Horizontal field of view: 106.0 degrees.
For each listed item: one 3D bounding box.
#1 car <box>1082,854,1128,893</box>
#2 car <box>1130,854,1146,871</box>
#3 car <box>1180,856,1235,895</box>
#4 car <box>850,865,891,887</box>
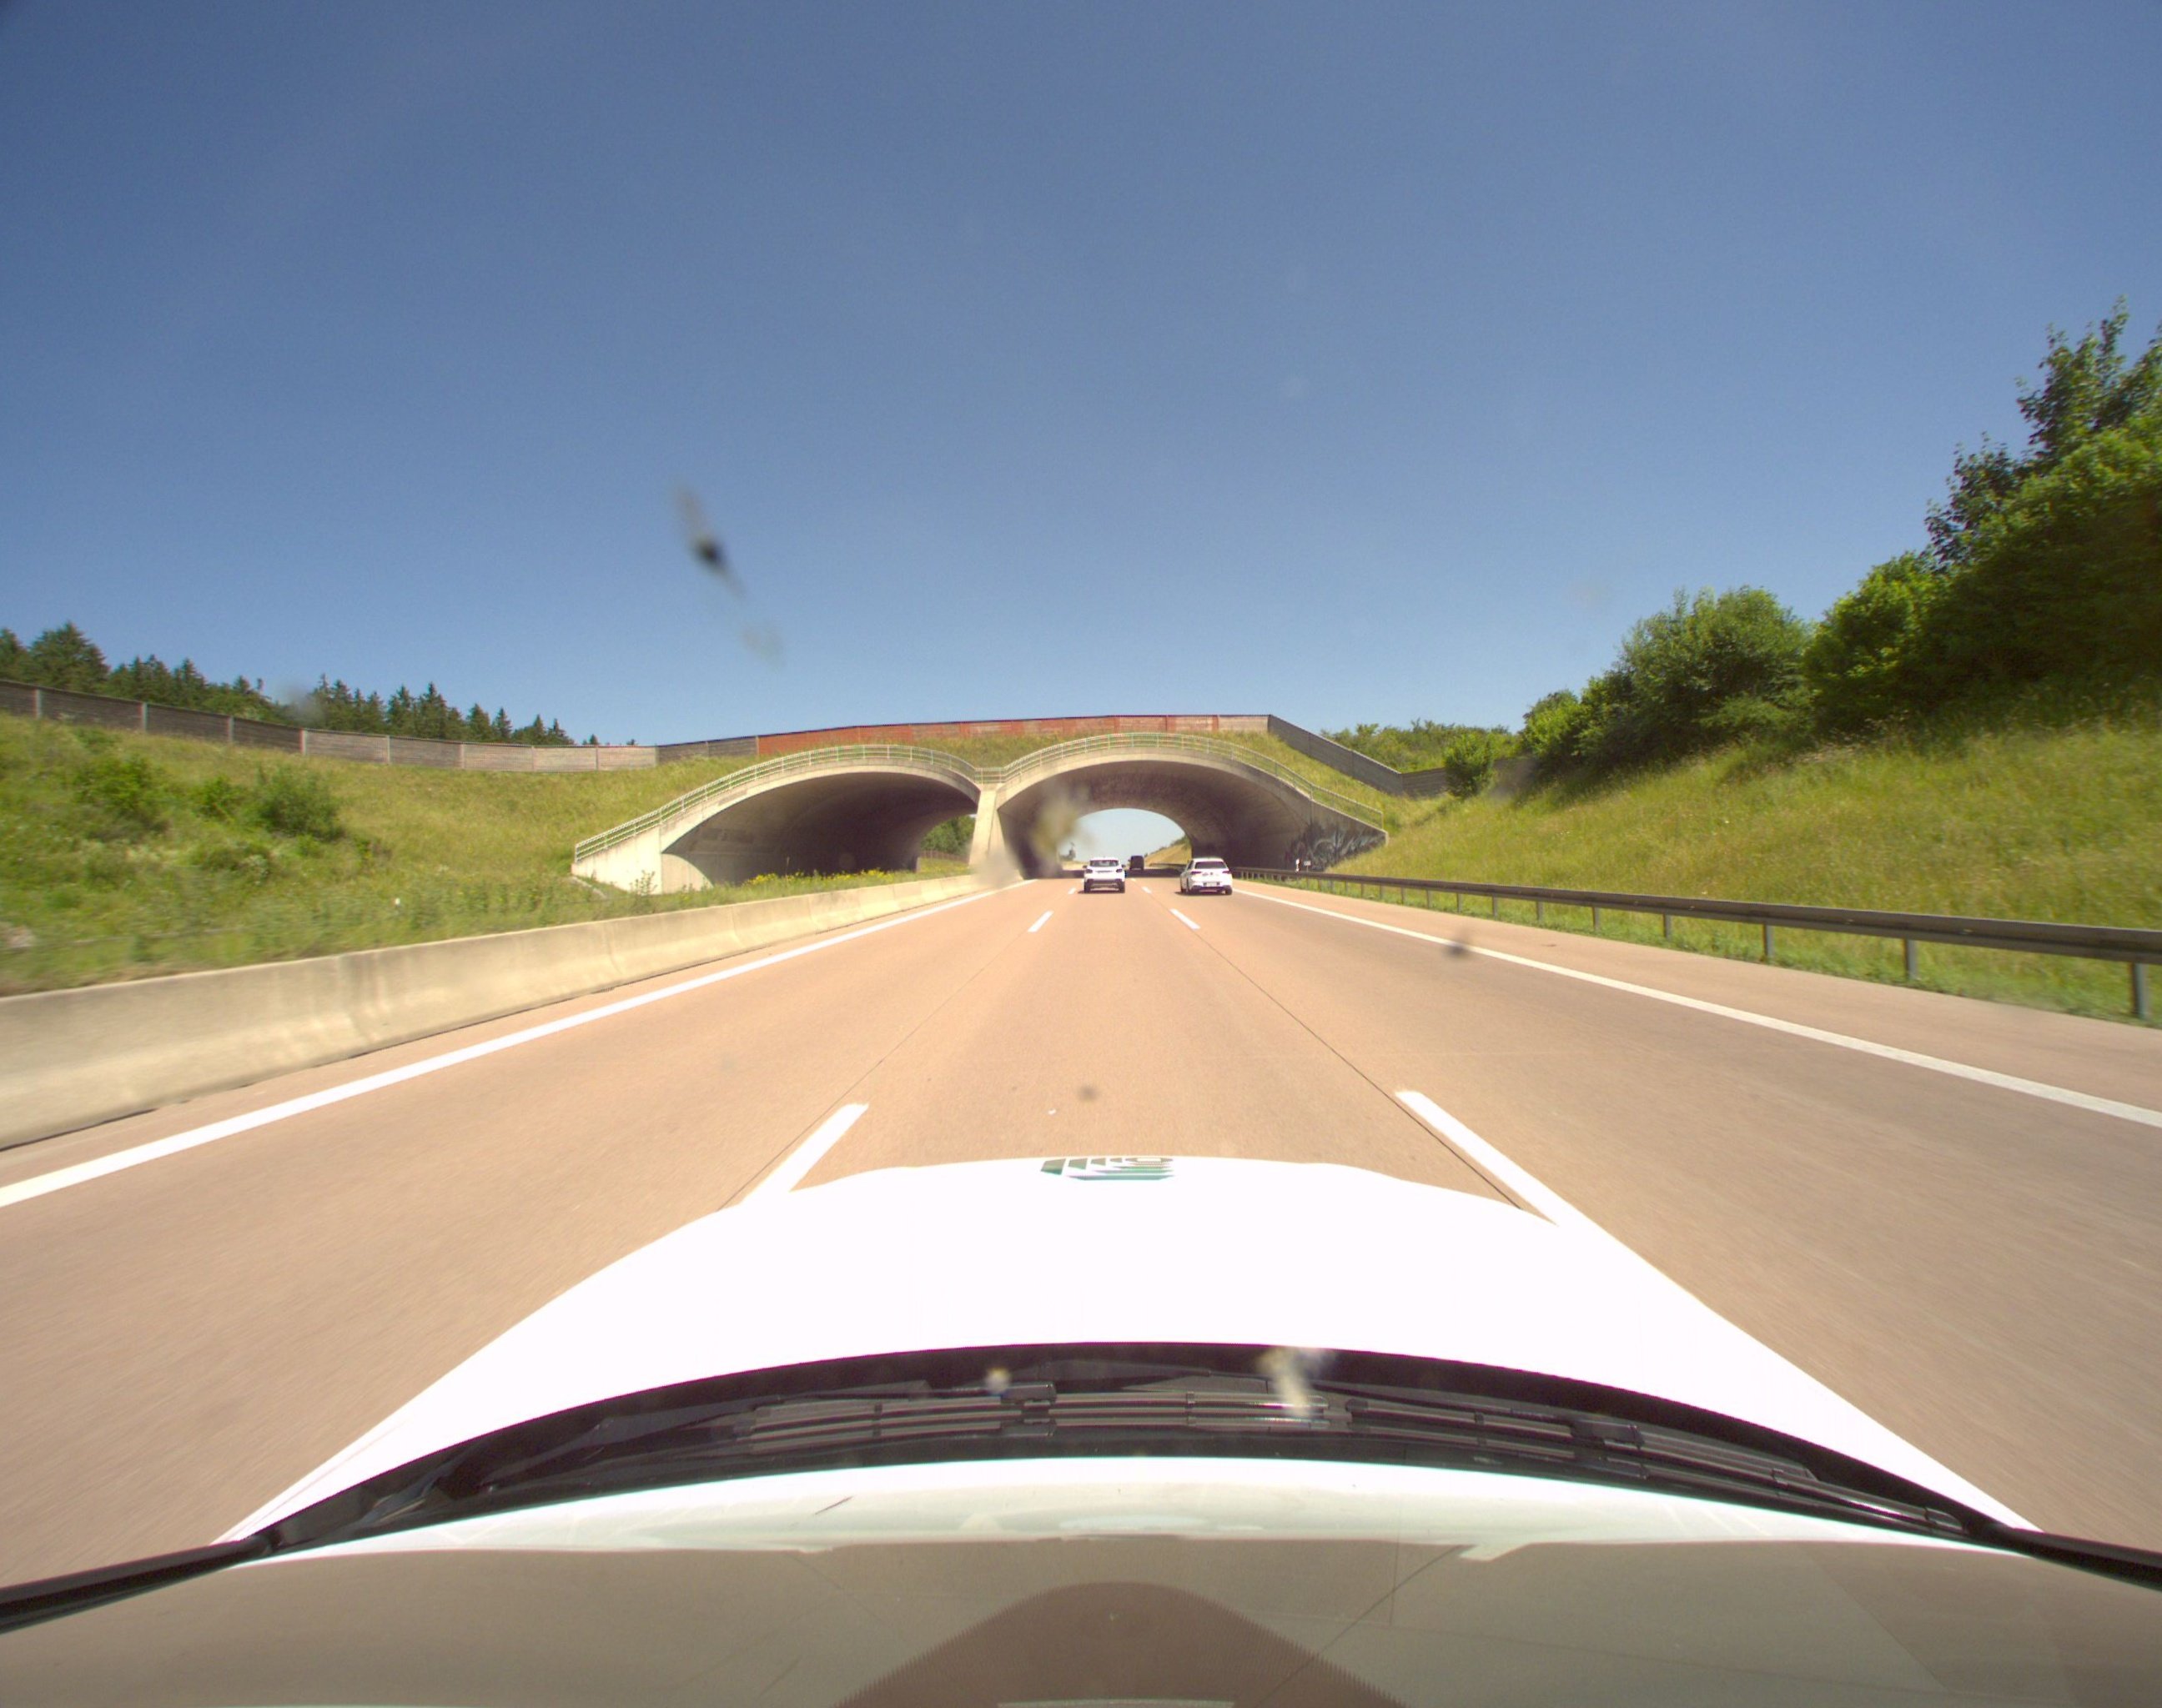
[{"bbox_3d":[1.071,0.840,36.402,1.872,1.607,4.835,-1,-1,1],"label":"car"},{"bbox_3d":[7.595,1.129,108.405,2.101,2.053,4.004,-1,1,3],"label":"car"},{"bbox_3d":[5.068,0.819,33.080,1.882,1.398,4.004,0,1,4],"label":"car"},{"bbox_3d":[-17.011,1.752,66.114,1.883,1.594,4.980,-1,0,2],"label":"car"}]
